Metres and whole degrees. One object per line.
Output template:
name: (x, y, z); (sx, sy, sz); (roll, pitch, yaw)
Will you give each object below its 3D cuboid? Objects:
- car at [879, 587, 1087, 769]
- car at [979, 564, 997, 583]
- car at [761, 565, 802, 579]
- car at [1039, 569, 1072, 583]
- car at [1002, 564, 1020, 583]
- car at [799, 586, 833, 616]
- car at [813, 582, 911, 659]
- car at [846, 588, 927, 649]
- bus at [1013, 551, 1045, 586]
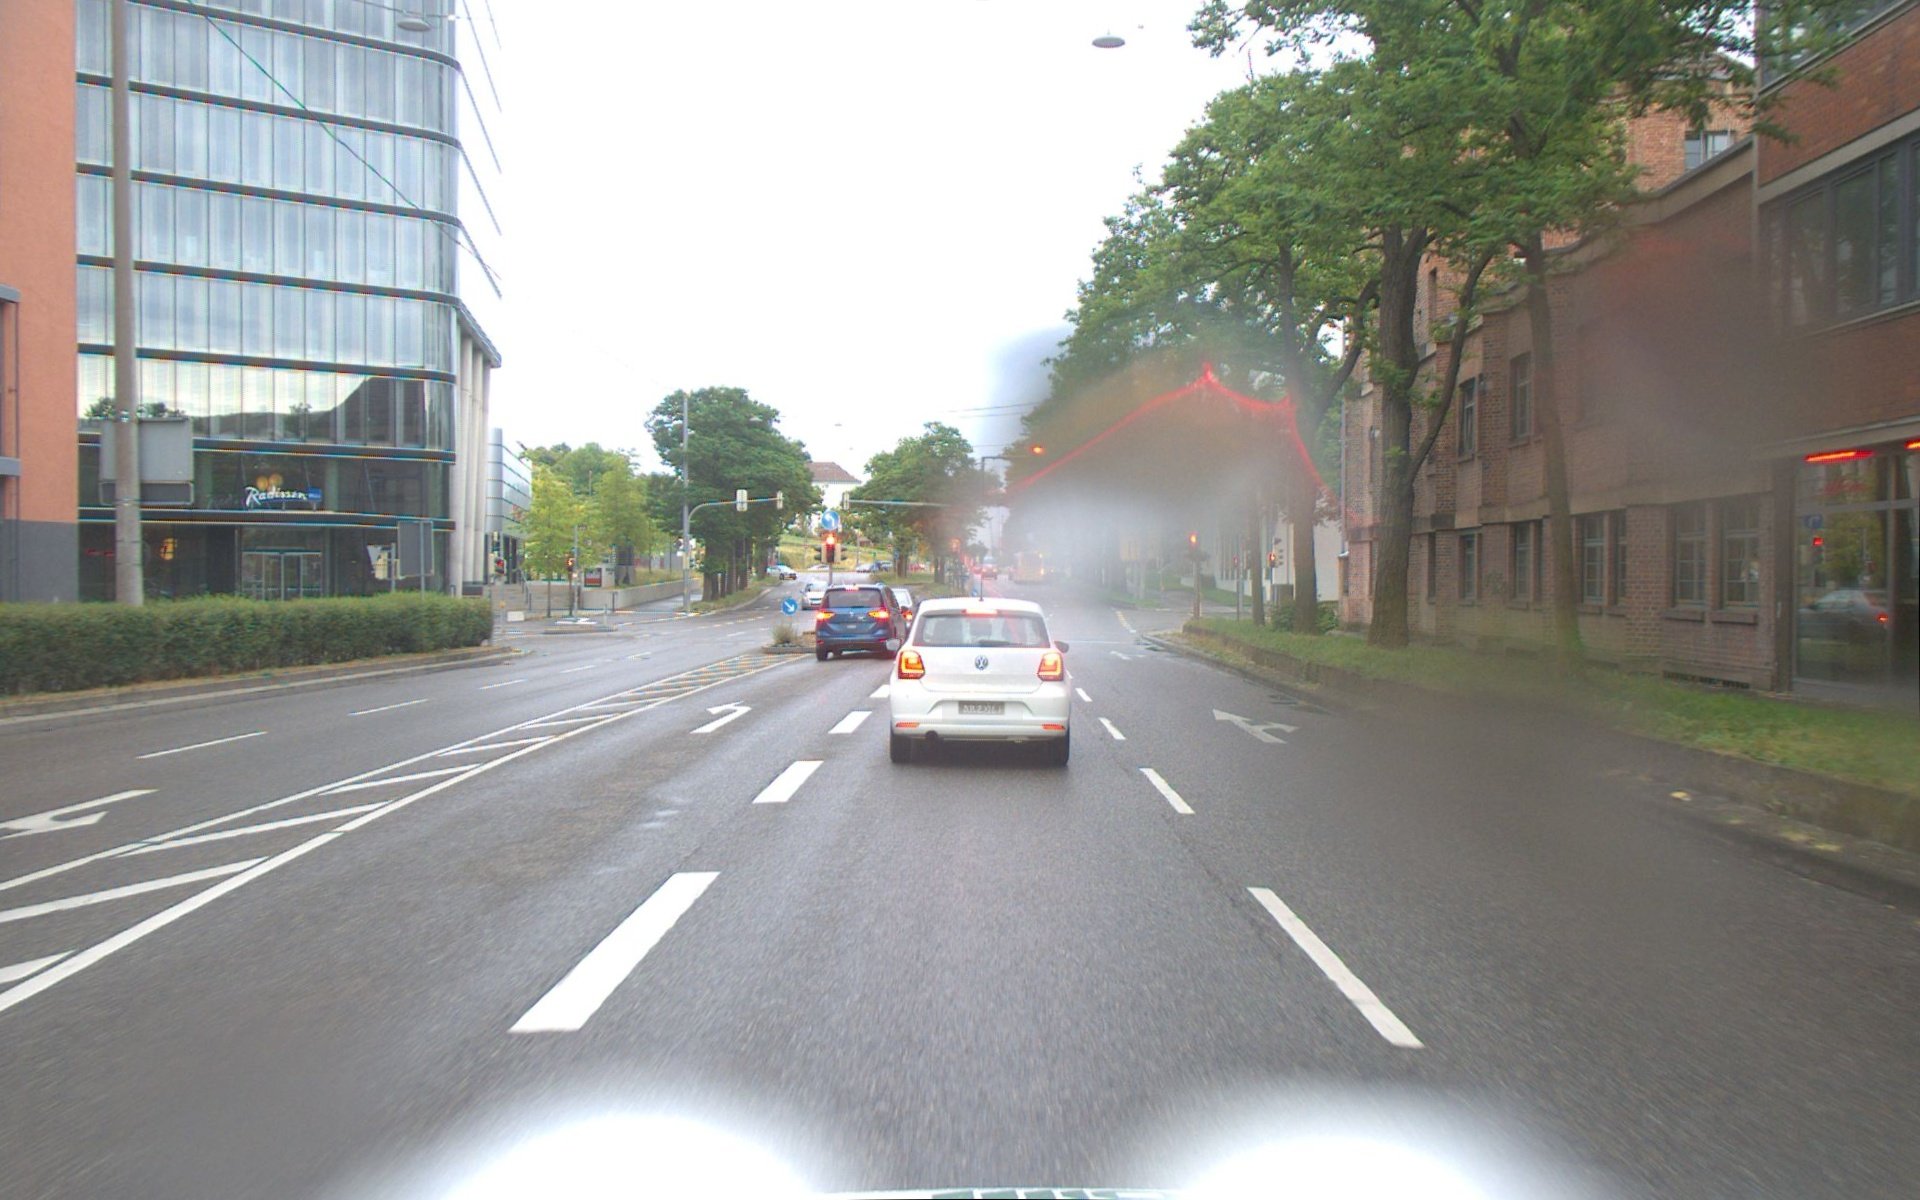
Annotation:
car: (0.243, 0.650, 16.095); (1.757, 1.528, 4.001); (1, 0, 1)
car: (3.139, -2.969, 185.577); (1.953, 2.049, 4.000); (0, 0, 0)
car: (-19.686, -3.084, 182.590); (4.567, 1.436, 1.811); (-1, 2, 39)
car: (10.703, -2.680, 185.002); (1.672, 1.542, 3.800); (0, 1, 45)
car: (5.742, -2.959, 185.603); (1.953, 2.049, 4.000); (0, 0, 0)
car: (-8.094, 0.030, 93.327); (1.715, 1.547, 3.815); (-1, 1, -3)
car: (-2.168, 0.425, 37.643); (1.735, 1.624, 4.199); (-1, 0, 3)
car: (-1.930, 0.449, 44.487); (1.808, 1.537, 4.050); (-1, 0, 3)
bus: (6.946, -3.207, 166.881); (2.770, 3.323, 10.001); (1, 2, 0)
